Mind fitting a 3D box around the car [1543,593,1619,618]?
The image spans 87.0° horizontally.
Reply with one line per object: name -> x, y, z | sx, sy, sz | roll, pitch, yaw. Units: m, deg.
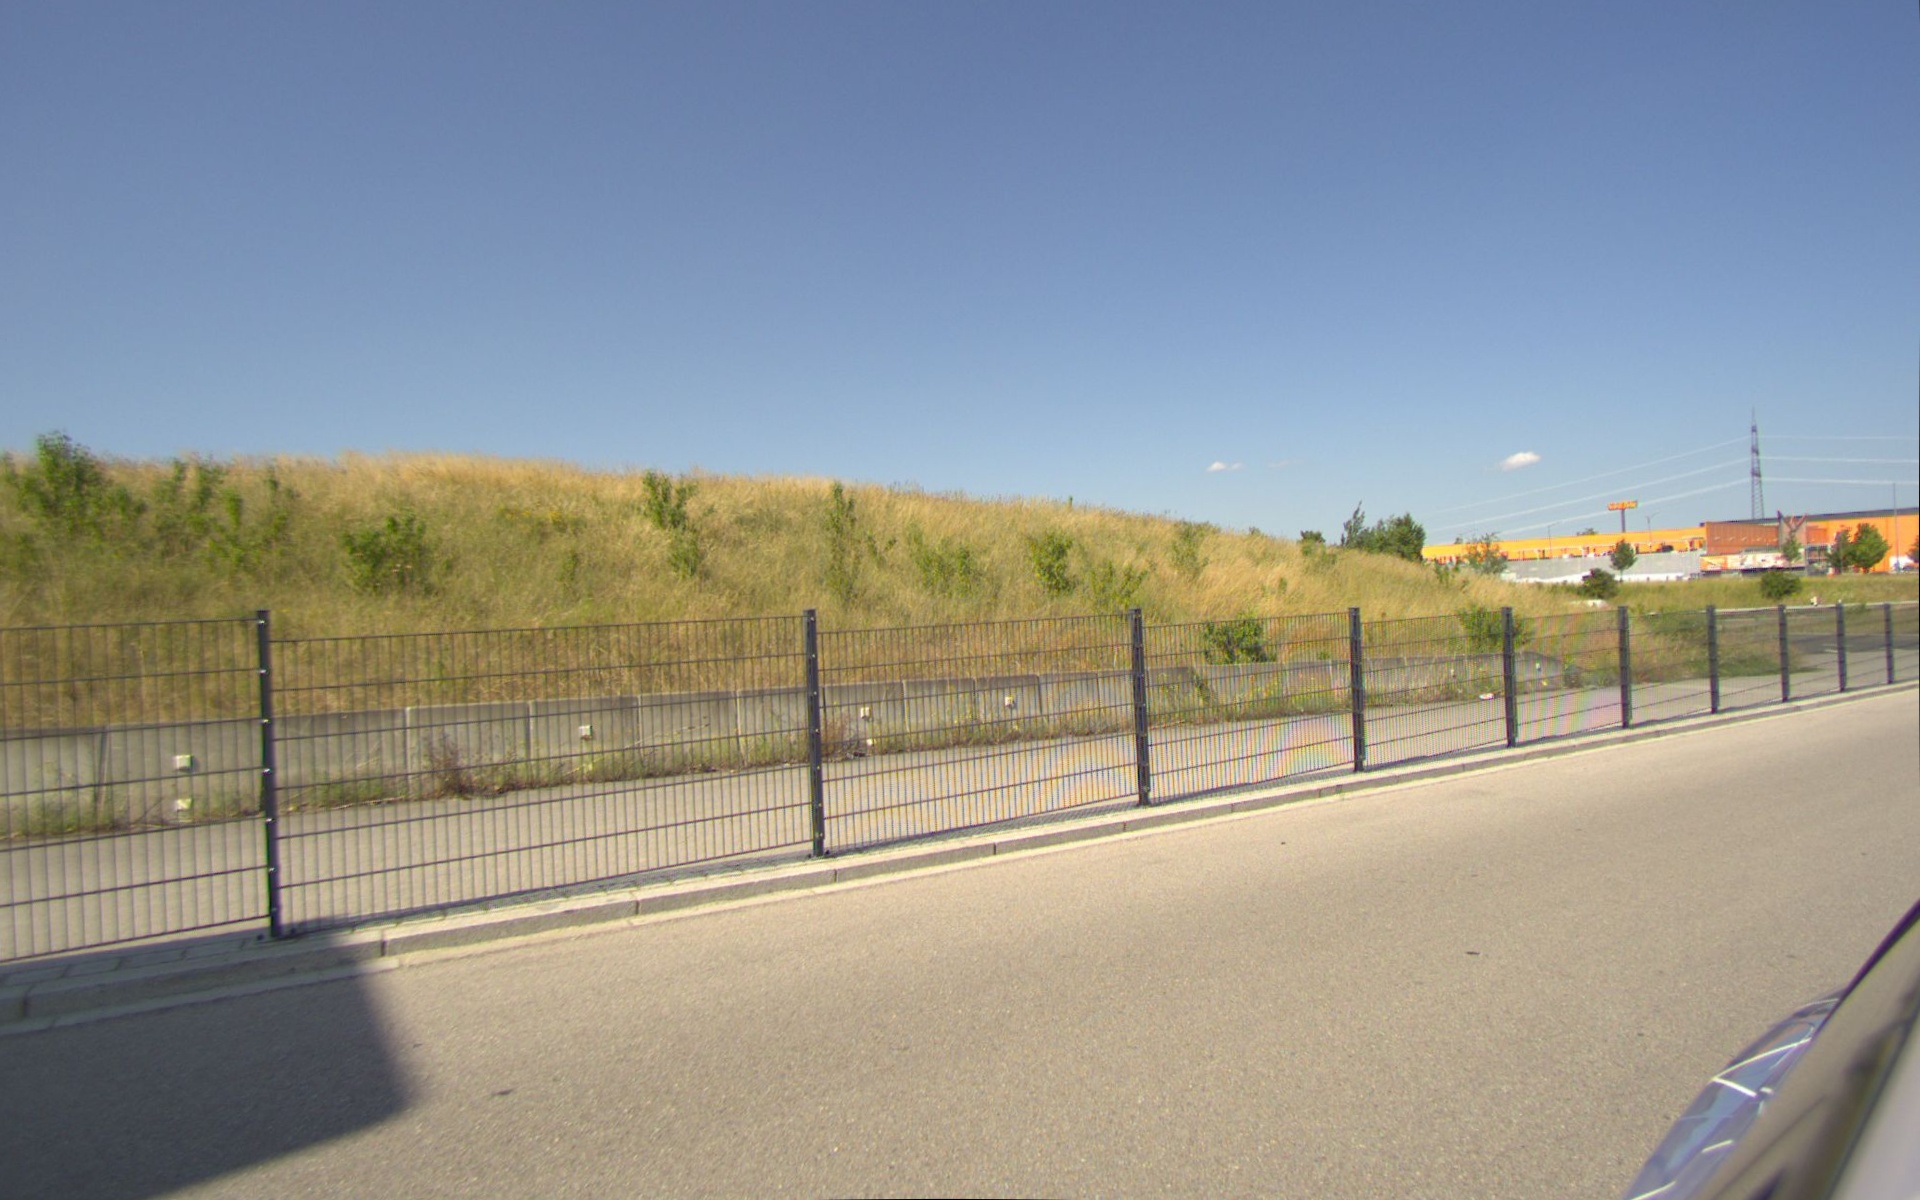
car -> 54.392, 0.518, 88.716 | 1.965, 2.039, 5.246 | -1, -1, -40
